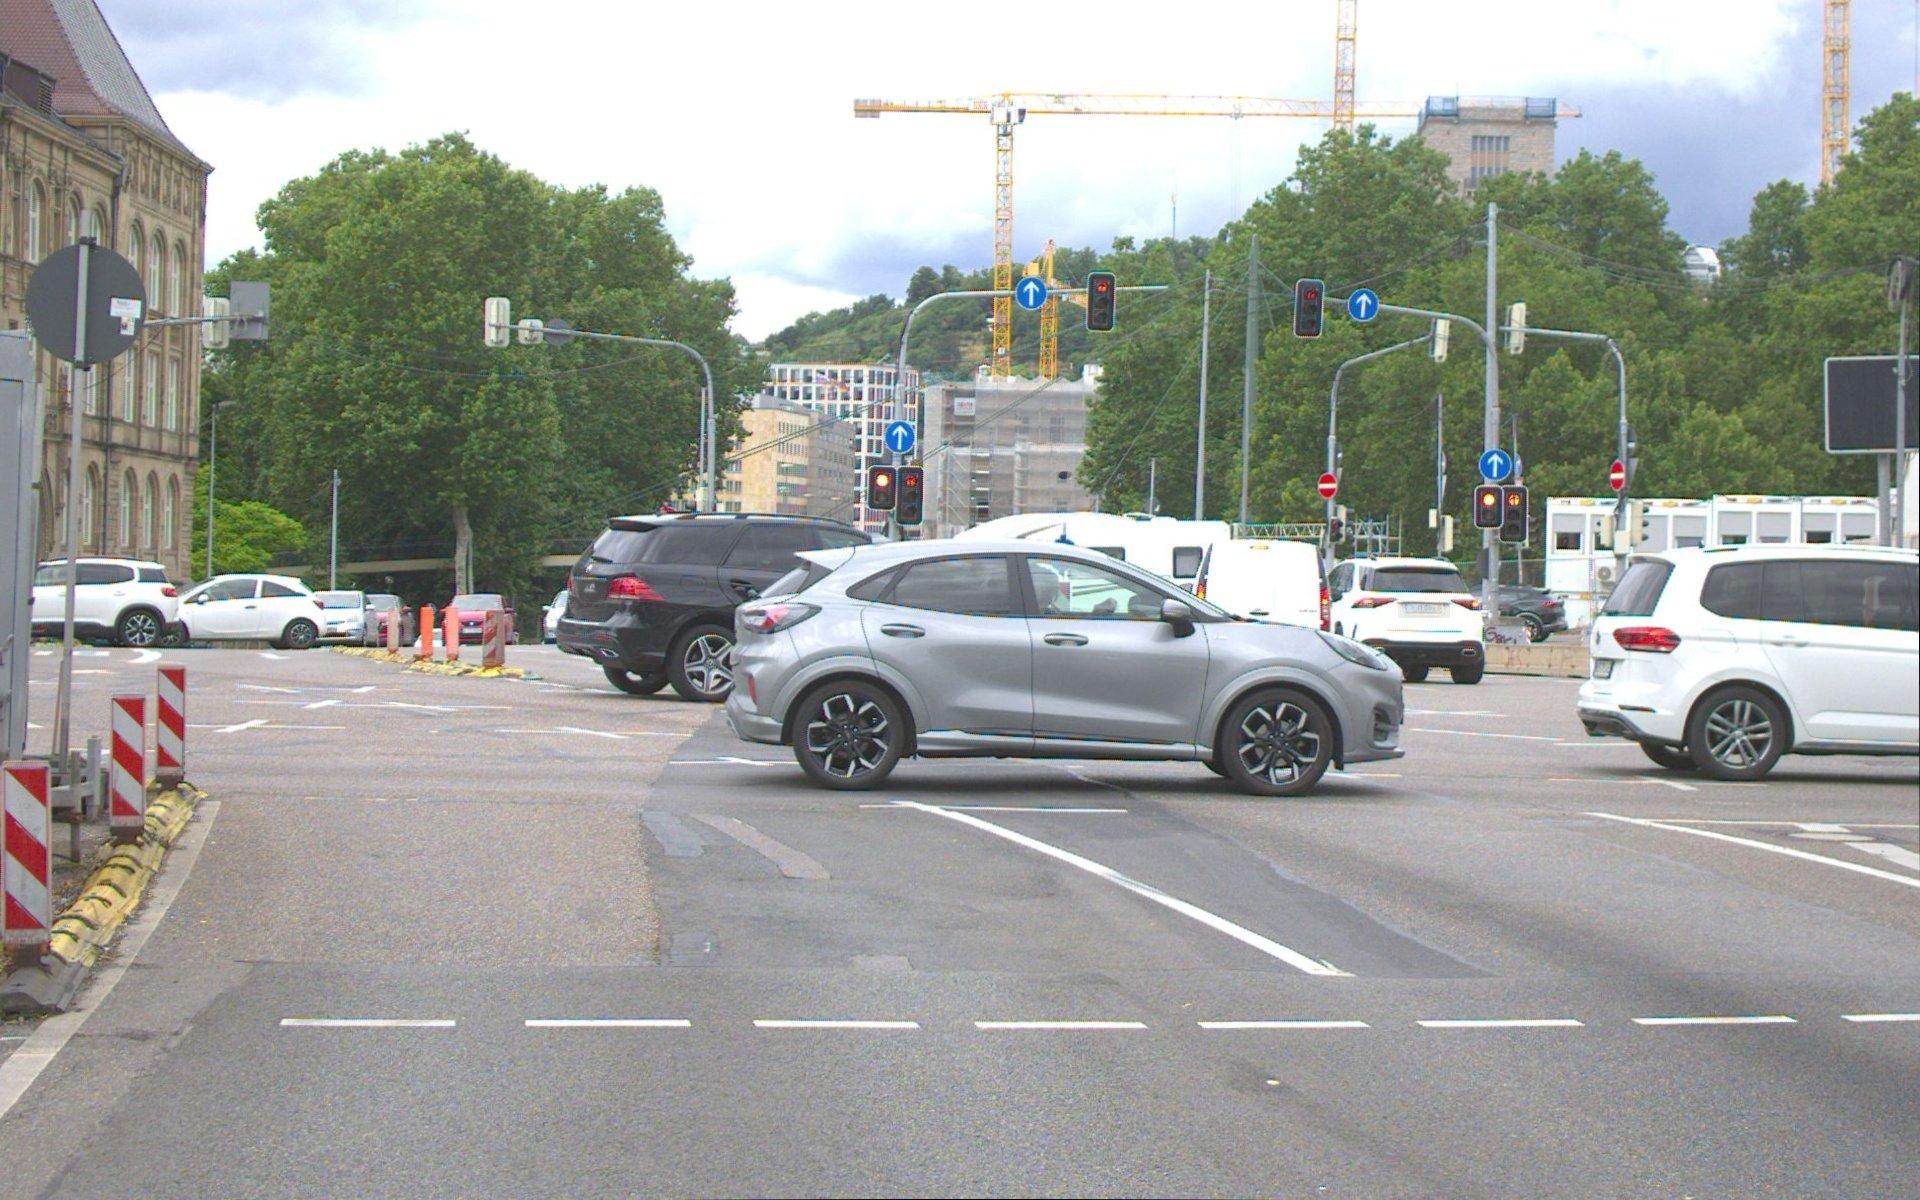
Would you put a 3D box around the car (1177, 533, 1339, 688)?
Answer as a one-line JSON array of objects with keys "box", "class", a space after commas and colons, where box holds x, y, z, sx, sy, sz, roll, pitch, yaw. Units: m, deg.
[{"box": [3.716, 0.101, 43.471, 1.864, 1.827, 4.721, 1, 1, 3], "class": "car"}]

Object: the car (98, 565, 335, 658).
[{"box": [-14.317, 0.218, 66.185, 4.146, 1.718, 1.909, 1, 1, -23], "class": "car"}]

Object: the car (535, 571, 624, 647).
[{"box": [-9.530, 0.211, 86.352, 1.993, 1.831, 4.001, 1, 1, -3], "class": "car"}]

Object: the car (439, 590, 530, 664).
[{"box": [-12.381, 0.685, 89.744, 1.993, 1.831, 4.001, 1, 1, -3], "class": "car"}]

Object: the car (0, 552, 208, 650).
[{"box": [-16.079, 0.012, 62.053, 4.583, 1.718, 1.909, 1, 1, -23], "class": "car"}]

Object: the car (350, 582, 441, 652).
[{"box": [-15.402, 0.454, 93.972, 1.993, 1.831, 4.001, 1, 1, -3], "class": "car"}]

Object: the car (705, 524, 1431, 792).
[{"box": [0.605, 0.336, 21.389, 4.294, 1.534, 2.000, 1, 1, -2], "class": "car"}]

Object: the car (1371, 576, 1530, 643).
[{"box": [12.718, 0.239, 89.300, 3.988, 1.656, 2.000, 1, 1, 6], "class": "car"}]

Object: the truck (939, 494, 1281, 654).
[{"box": [3.076, -0.515, 70.280, 6.580, 3.135, 2.368, 1, 1, -23], "class": "truck"}]

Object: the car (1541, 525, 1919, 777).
[{"box": [6.693, 0.356, 24.595, 4.670, 1.696, 2.000, 1, 0, -2], "class": "car"}]

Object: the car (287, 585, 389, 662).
[{"box": [-15.564, 0.566, 86.198, 1.993, 1.831, 4.001, 1, 1, -3], "class": "car"}]

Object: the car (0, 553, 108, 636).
[{"box": [-21.108, -0.146, 79.459, 1.993, 1.831, 4.001, 1, 1, -3], "class": "car"}]

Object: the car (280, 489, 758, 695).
[{"box": [-4.181, -0.068, 32.321, 4.242, 1.828, 2.001, 1, 1, -13], "class": "car"}]

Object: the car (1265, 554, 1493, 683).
[{"box": [5.946, 0.227, 49.379, 1.993, 1.753, 4.506, 1, 1, -10], "class": "car"}]

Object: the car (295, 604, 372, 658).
[{"box": [-22.616, 1.114, 124.198, 1.993, 1.831, 4.000, 1, 1, 1], "class": "car"}]
